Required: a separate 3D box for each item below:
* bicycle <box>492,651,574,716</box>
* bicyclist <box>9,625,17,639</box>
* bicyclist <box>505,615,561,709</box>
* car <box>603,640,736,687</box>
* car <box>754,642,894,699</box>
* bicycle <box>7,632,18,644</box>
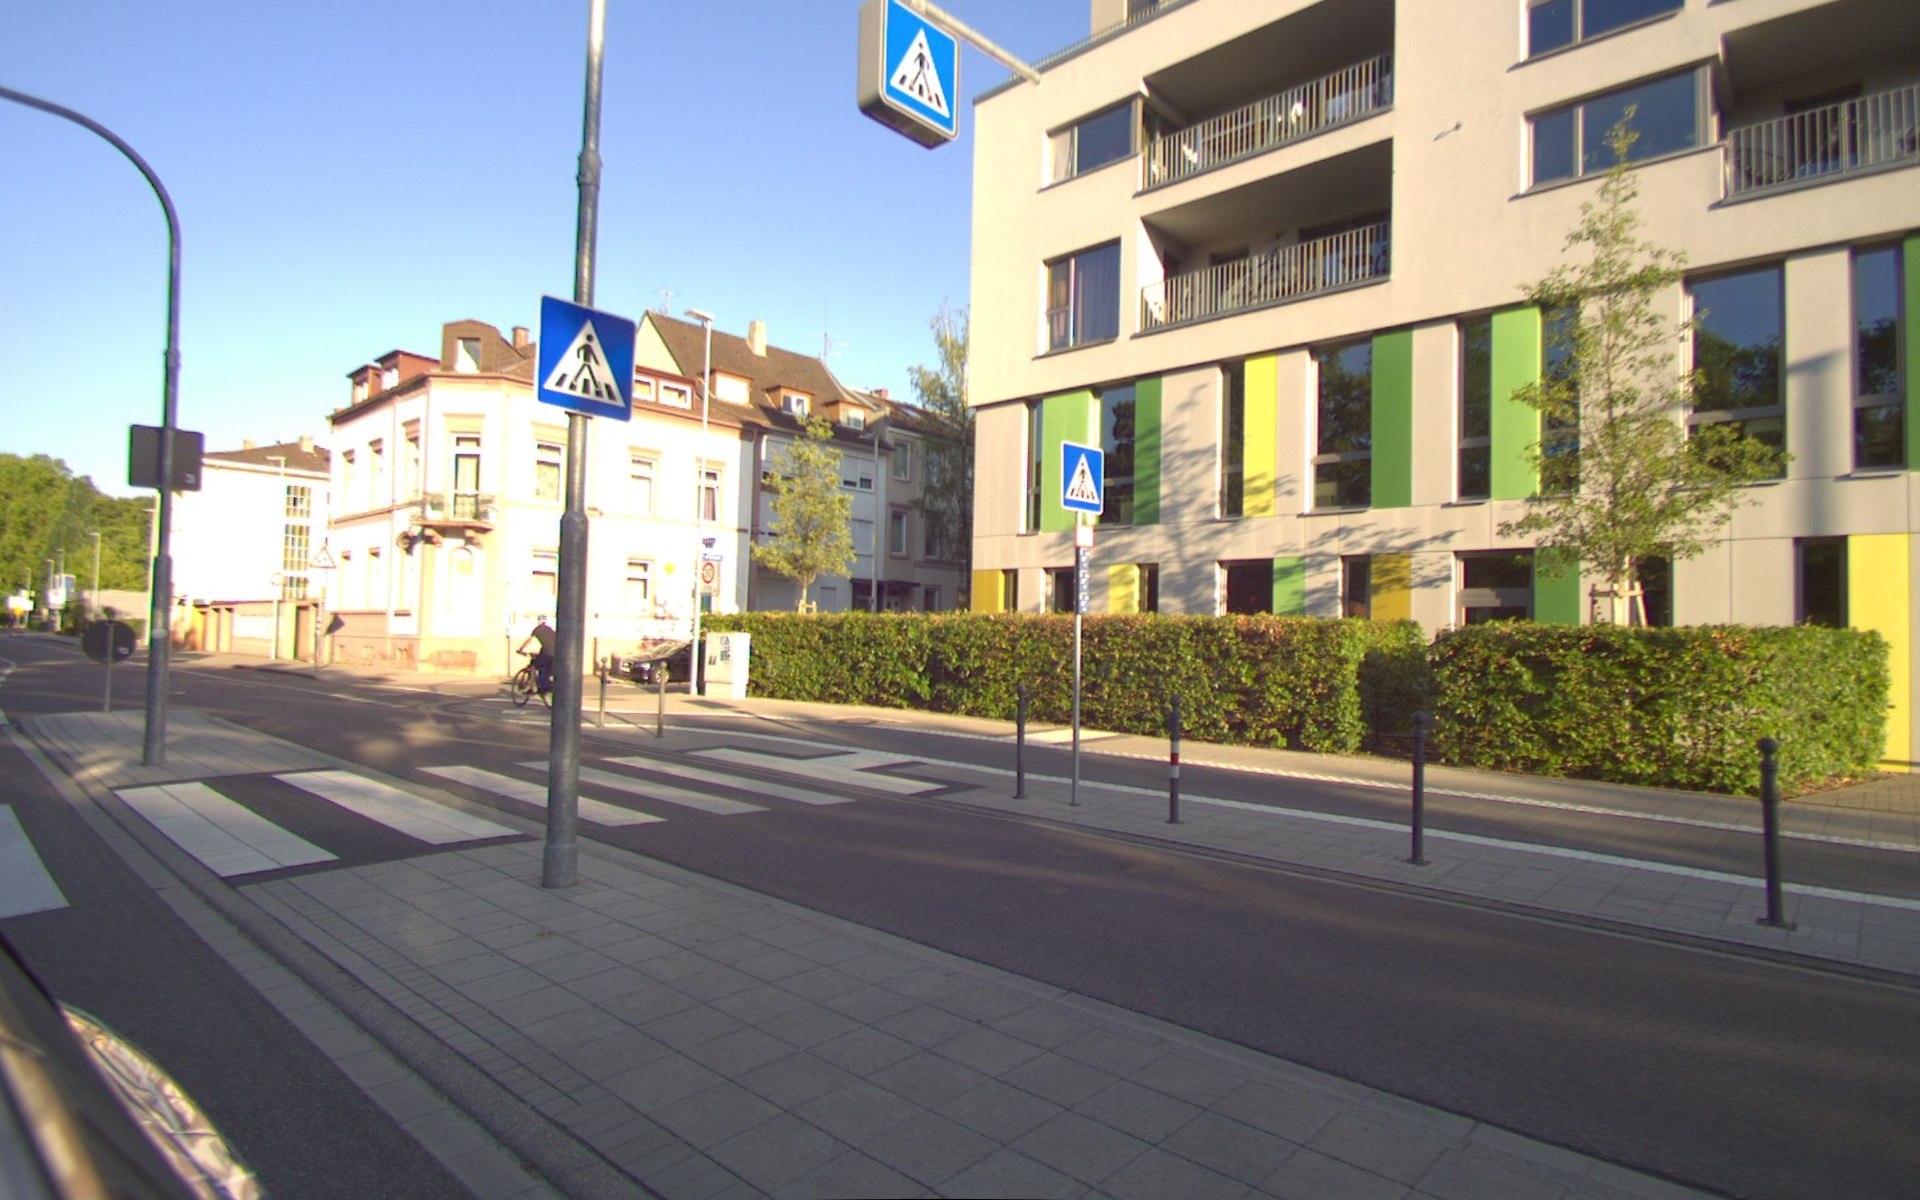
[{"bbox_3d":[-7.789,1.491,18.420,1.883,1.086,0.627,-1,-4,43],"label":"bicycle"},{"bbox_3d":[-90.136,3.020,96.296,0.567,1.275,0.473,-2,-4,42],"label":"bicyclist"},{"bbox_3d":[-7.783,1.117,18.433,0.757,1.657,0.619,-1,-4,43],"label":"bicyclist"},{"bbox_3d":[-9.685,2.121,33.949,1.903,1.449,3.865,-1,-4,41],"label":"car"},{"bbox_3d":[-4.106,2.137,30.928,1.820,1.449,3.861,5,1,44],"label":"car"},{"bbox_3d":[-90.157,3.618,96.267,1.849,1.070,0.568,-1,-4,42],"label":"bicycle"}]
